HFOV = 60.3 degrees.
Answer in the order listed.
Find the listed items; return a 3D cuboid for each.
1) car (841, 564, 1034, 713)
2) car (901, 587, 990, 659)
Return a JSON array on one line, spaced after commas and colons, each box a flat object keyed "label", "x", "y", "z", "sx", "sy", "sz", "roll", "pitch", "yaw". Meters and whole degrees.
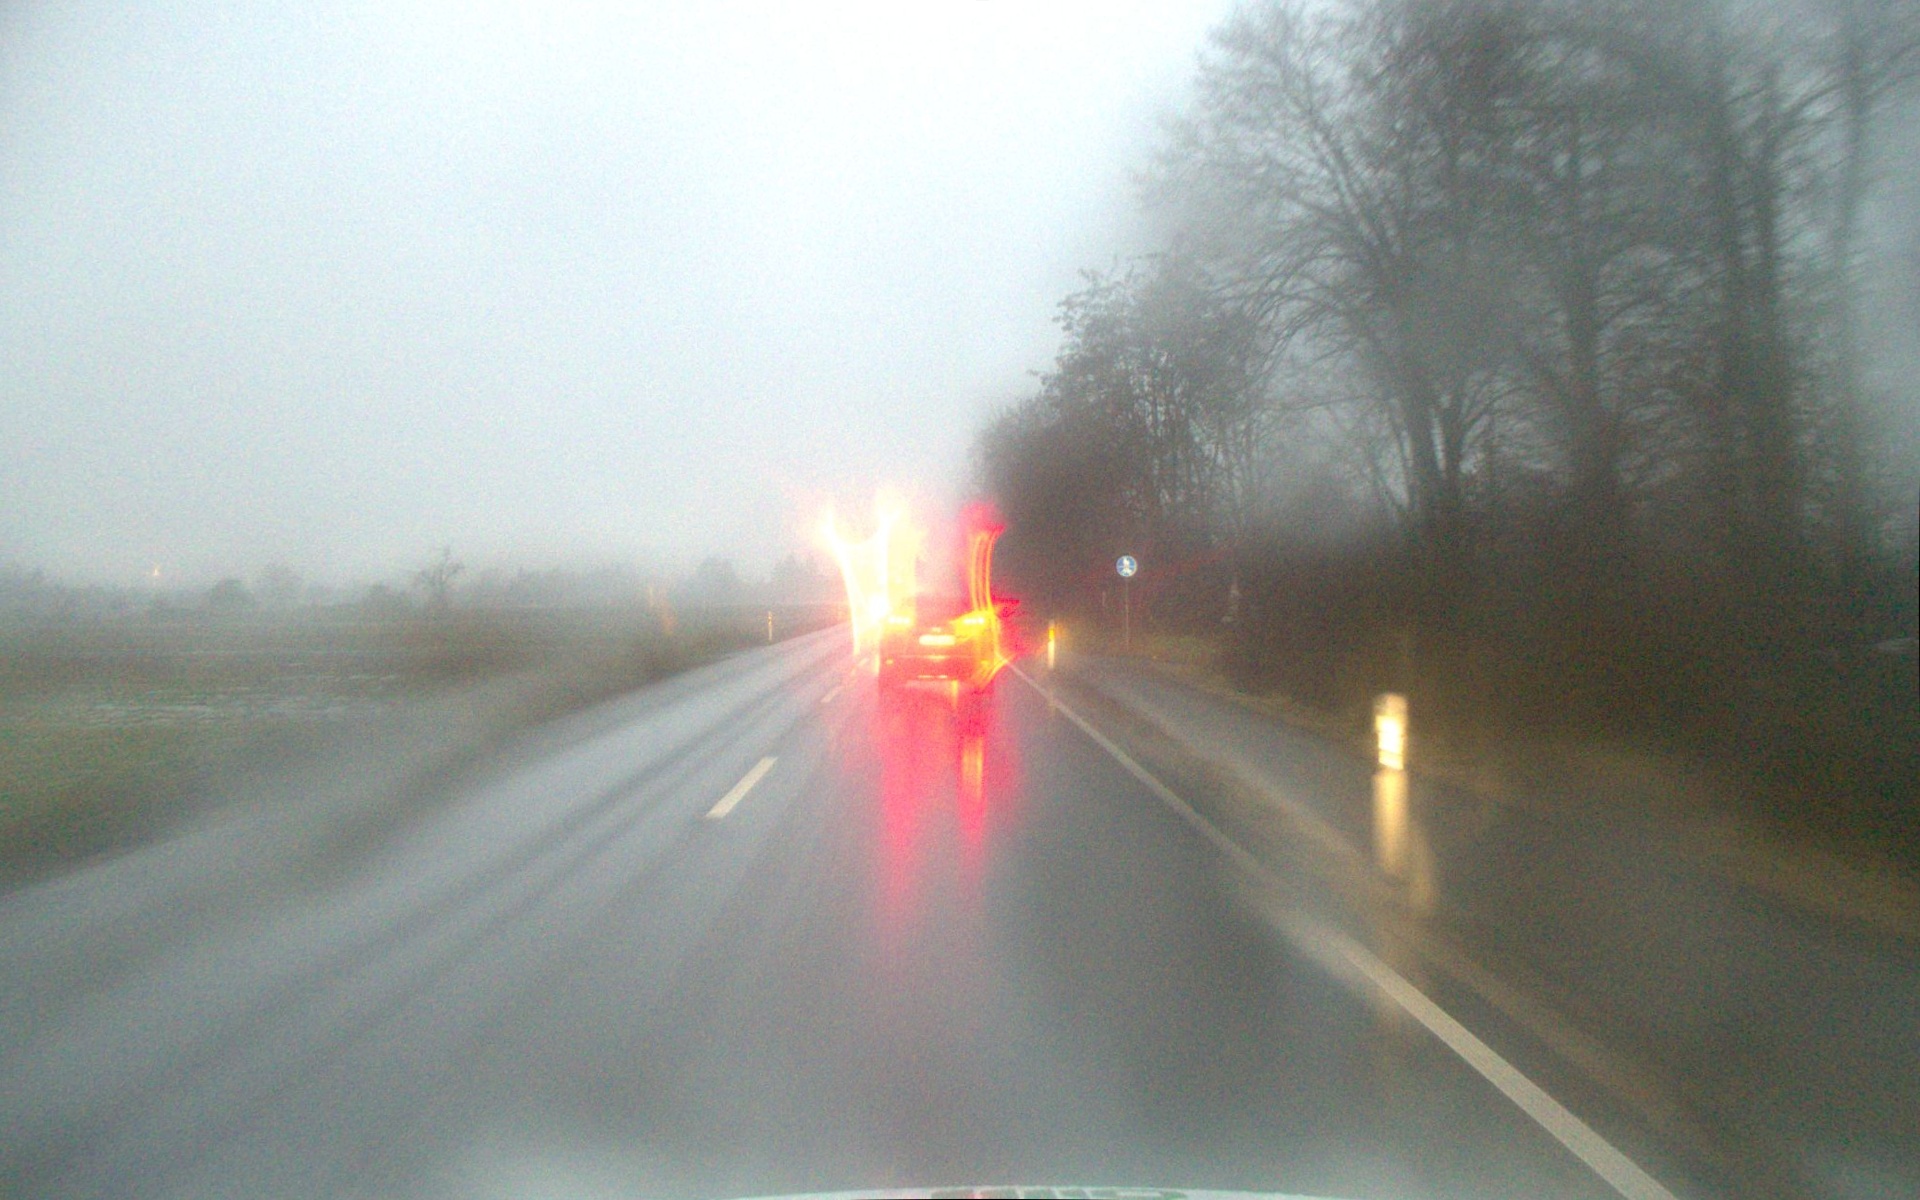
[{"label": "car", "x": -0.351, "y": 0.567, "z": 26.740, "sx": 2.763, "sy": 2.113, "sz": 5.803, "roll": 1, "pitch": 0, "yaw": -1}, {"label": "car", "x": -0.436, "y": 0.667, "z": 50.379, "sx": 2.539, "sy": 2.049, "sz": 5.803, "roll": 1, "pitch": 0, "yaw": -1}]
